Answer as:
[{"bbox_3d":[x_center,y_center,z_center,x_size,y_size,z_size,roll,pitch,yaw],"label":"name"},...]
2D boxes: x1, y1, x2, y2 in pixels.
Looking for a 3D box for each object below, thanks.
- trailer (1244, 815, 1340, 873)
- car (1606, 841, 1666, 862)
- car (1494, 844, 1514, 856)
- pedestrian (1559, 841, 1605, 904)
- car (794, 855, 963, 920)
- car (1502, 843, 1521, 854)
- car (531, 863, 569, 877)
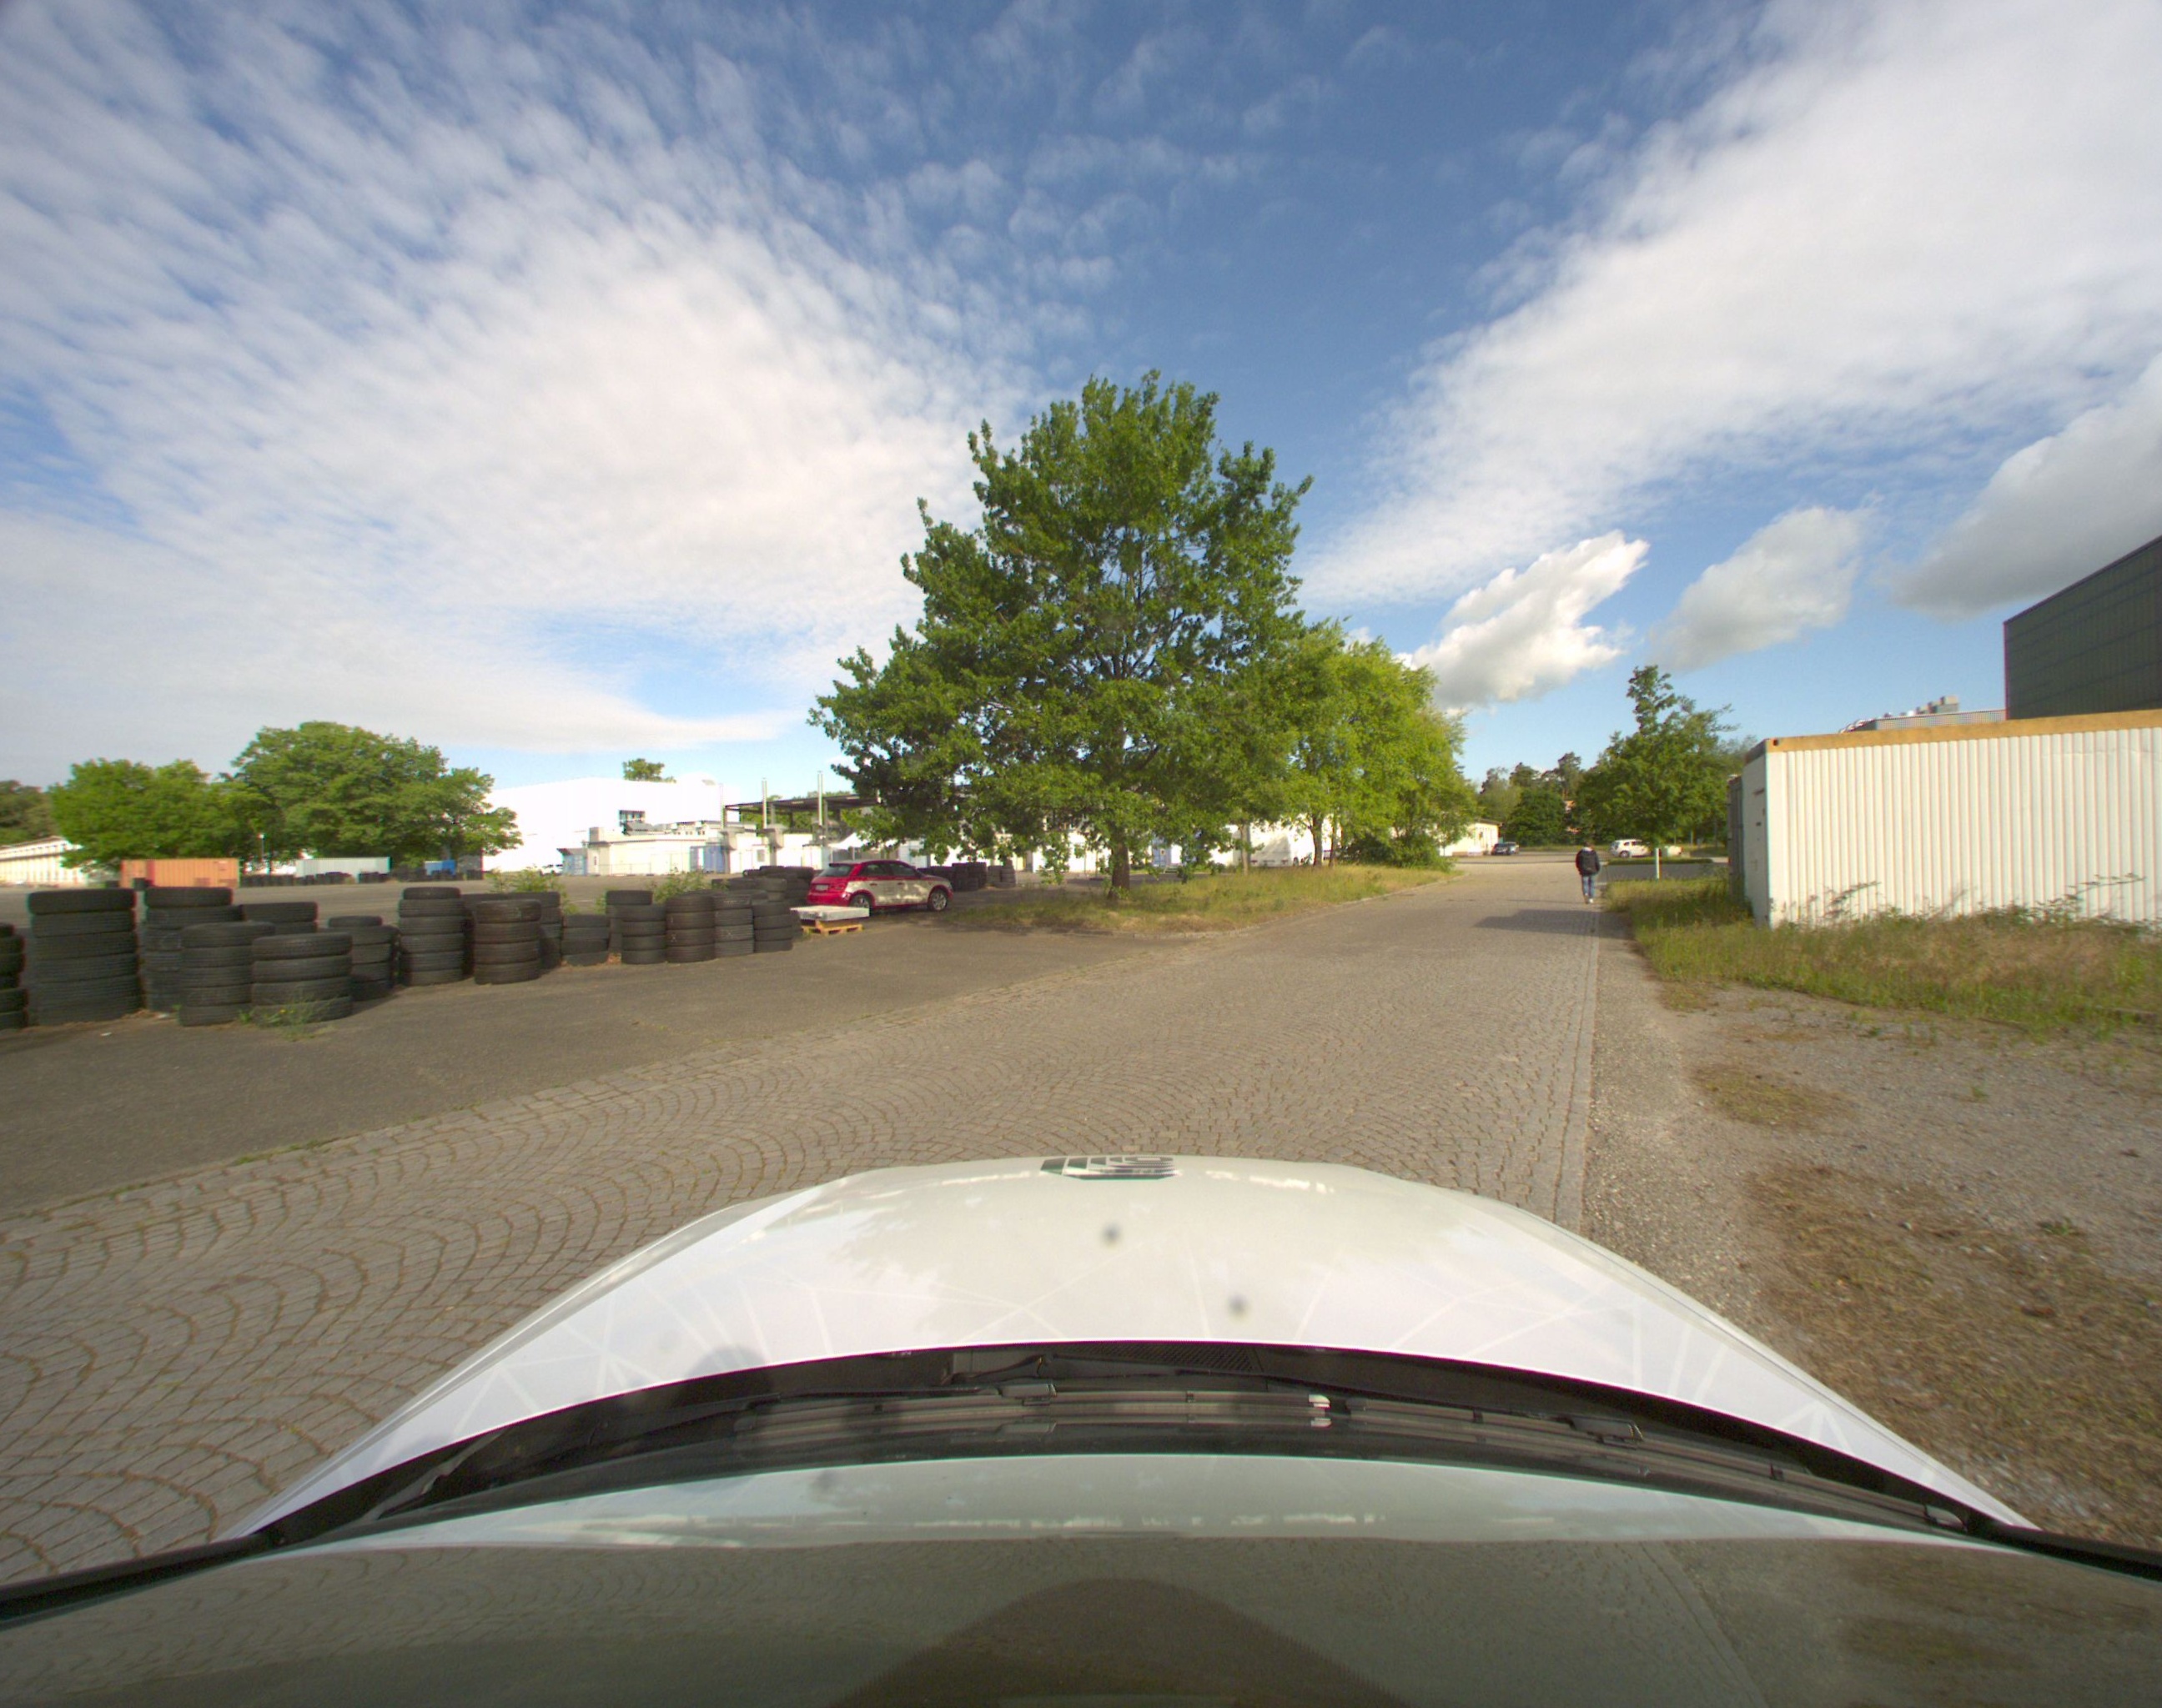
[{"bbox_3d":[14.278,-0.647,54.287,2.888,3.471,9.965,-1,0,34],"label":"trailer"},{"bbox_3d":[45.806,-0.209,67.246,3.948,1.643,2.013,-1,0,38],"label":"car"},{"bbox_3d":[48.799,-0.474,94.075,1.975,1.371,4.024,-1,0,27],"label":"car"},{"bbox_3d":[12.783,0.463,20.791,0.856,1.559,1.034,-1,0,38],"label":"pedestrian"},{"bbox_3d":[-5.157,0.796,21.190,1.706,1.464,4.025,-1,0,39],"label":"car"},{"bbox_3d":[54.337,-0.677,102.814,1.975,1.376,4.024,-1,0,27],"label":"car"},{"bbox_3d":[-62.748,1.892,96.231,4.489,1.564,1.887,-1,0,30],"label":"car"}]
